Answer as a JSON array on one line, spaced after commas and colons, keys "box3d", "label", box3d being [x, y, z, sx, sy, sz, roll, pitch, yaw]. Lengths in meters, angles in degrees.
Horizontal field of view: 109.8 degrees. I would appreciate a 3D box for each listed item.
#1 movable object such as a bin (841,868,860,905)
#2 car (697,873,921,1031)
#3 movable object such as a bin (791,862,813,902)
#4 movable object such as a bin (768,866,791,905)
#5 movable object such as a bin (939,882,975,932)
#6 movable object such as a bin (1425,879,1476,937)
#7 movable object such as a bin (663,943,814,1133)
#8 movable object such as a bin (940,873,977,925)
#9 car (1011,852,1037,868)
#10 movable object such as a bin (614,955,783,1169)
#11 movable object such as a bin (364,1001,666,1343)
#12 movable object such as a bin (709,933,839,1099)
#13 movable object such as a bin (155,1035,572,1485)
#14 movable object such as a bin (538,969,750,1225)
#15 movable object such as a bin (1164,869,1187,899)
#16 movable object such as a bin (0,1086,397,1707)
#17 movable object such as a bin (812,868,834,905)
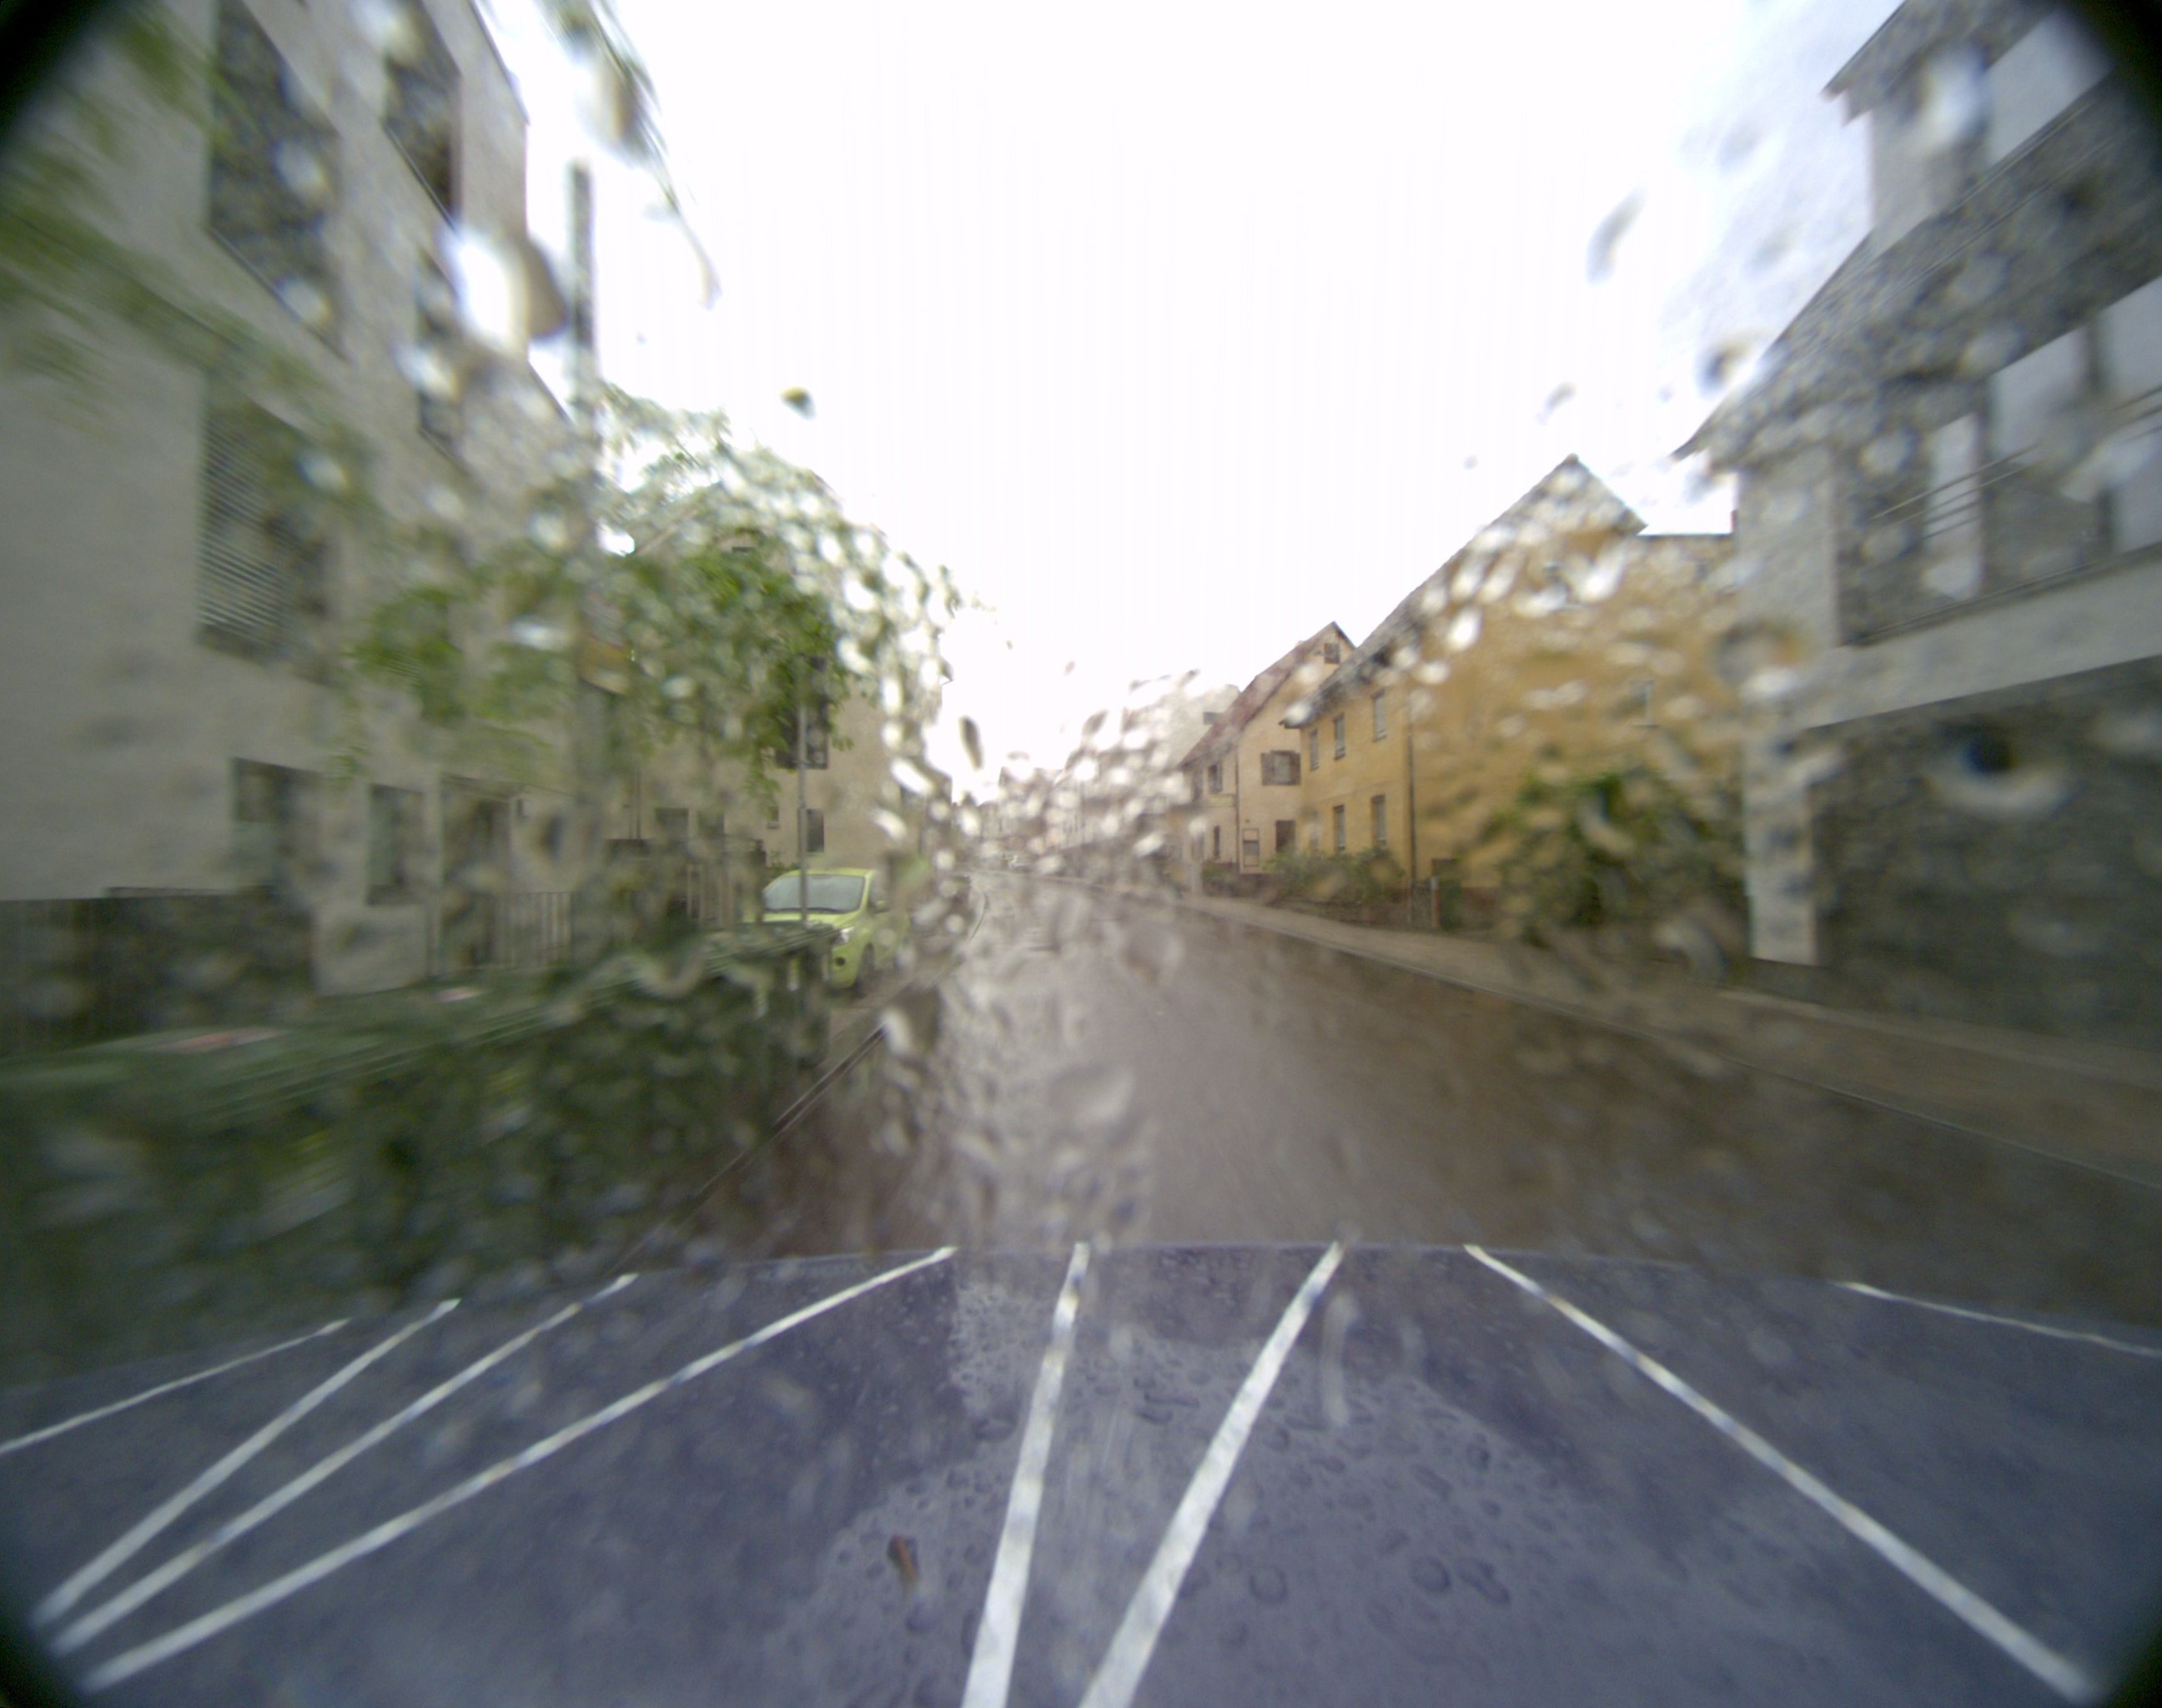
[{"box3d": [-7.132, 1.009, 23.512, 0.511, 1.102, 0.719, 1, 1, -20], "label": "movable object such as a bin"}, {"box3d": [-3.263, 1.091, 9.886, 1.642, 1.516, 3.633, -1, 1, -1], "label": "car"}, {"box3d": [-8.455, 0.849, 23.008, 0.586, 1.178, 0.719, 1, 1, -20], "label": "movable object such as a bin"}, {"box3d": [-9.022, 0.940, 22.752, 0.586, 1.102, 0.719, 1, 1, -20], "label": "movable object such as a bin"}, {"box3d": [-2.953, 1.248, 18.156, 0.762, 1.102, 0.809, 2, 1, -4], "label": "movable object such as a bin"}, {"box3d": [7.476, 1.078, 15.382, 0.659, 1.102, 0.721, 2, 1, 3], "label": "movable object such as a bin"}, {"box3d": [-2.197, 1.157, 4.944, 0.711, 1.081, 0.601, -1, 0, -3], "label": "movable object such as a bin"}, {"box3d": [-3.134, 1.137, 19.485, 0.797, 1.241, 1.243, 2, 1, -4], "label": "movable object such as a bin"}, {"box3d": [-5.814, 0.591, 76.773, 2.001, 1.437, 3.995, -2, 1, -13], "label": "car"}, {"box3d": [-2.174, 1.160, 4.376, 0.704, 1.081, 0.515, -1, 0, -3], "label": "movable object such as a bin"}, {"box3d": [-2.151, 1.175, 2.969, 0.711, 1.081, 0.601, -1, 0, 0], "label": "movable object such as a bin"}, {"box3d": [-2.220, 1.152, 5.565, 0.711, 1.081, 0.601, -1, 0, -3], "label": "movable object such as a bin"}, {"box3d": [-2.151, 1.177, 2.367, 0.711, 1.081, 0.601, -1, 0, 0], "label": "movable object such as a bin"}, {"box3d": [-2.150, 1.166, 3.814, 0.711, 1.081, 0.601, -1, 0, -3], "label": "movable object such as a bin"}, {"box3d": [3.576, 1.134, 28.788, 0.715, 1.053, 0.575, -2, 1, -4], "label": "movable object such as a bin"}, {"box3d": [-2.174, 1.155, 1.707, 0.711, 1.081, 0.601, -1, 0, 0], "label": "movable object such as a bin"}, {"box3d": [-7.888, 0.985, 23.243, 0.586, 1.102, 0.719, 1, 1, -20], "label": "movable object such as a bin"}]
